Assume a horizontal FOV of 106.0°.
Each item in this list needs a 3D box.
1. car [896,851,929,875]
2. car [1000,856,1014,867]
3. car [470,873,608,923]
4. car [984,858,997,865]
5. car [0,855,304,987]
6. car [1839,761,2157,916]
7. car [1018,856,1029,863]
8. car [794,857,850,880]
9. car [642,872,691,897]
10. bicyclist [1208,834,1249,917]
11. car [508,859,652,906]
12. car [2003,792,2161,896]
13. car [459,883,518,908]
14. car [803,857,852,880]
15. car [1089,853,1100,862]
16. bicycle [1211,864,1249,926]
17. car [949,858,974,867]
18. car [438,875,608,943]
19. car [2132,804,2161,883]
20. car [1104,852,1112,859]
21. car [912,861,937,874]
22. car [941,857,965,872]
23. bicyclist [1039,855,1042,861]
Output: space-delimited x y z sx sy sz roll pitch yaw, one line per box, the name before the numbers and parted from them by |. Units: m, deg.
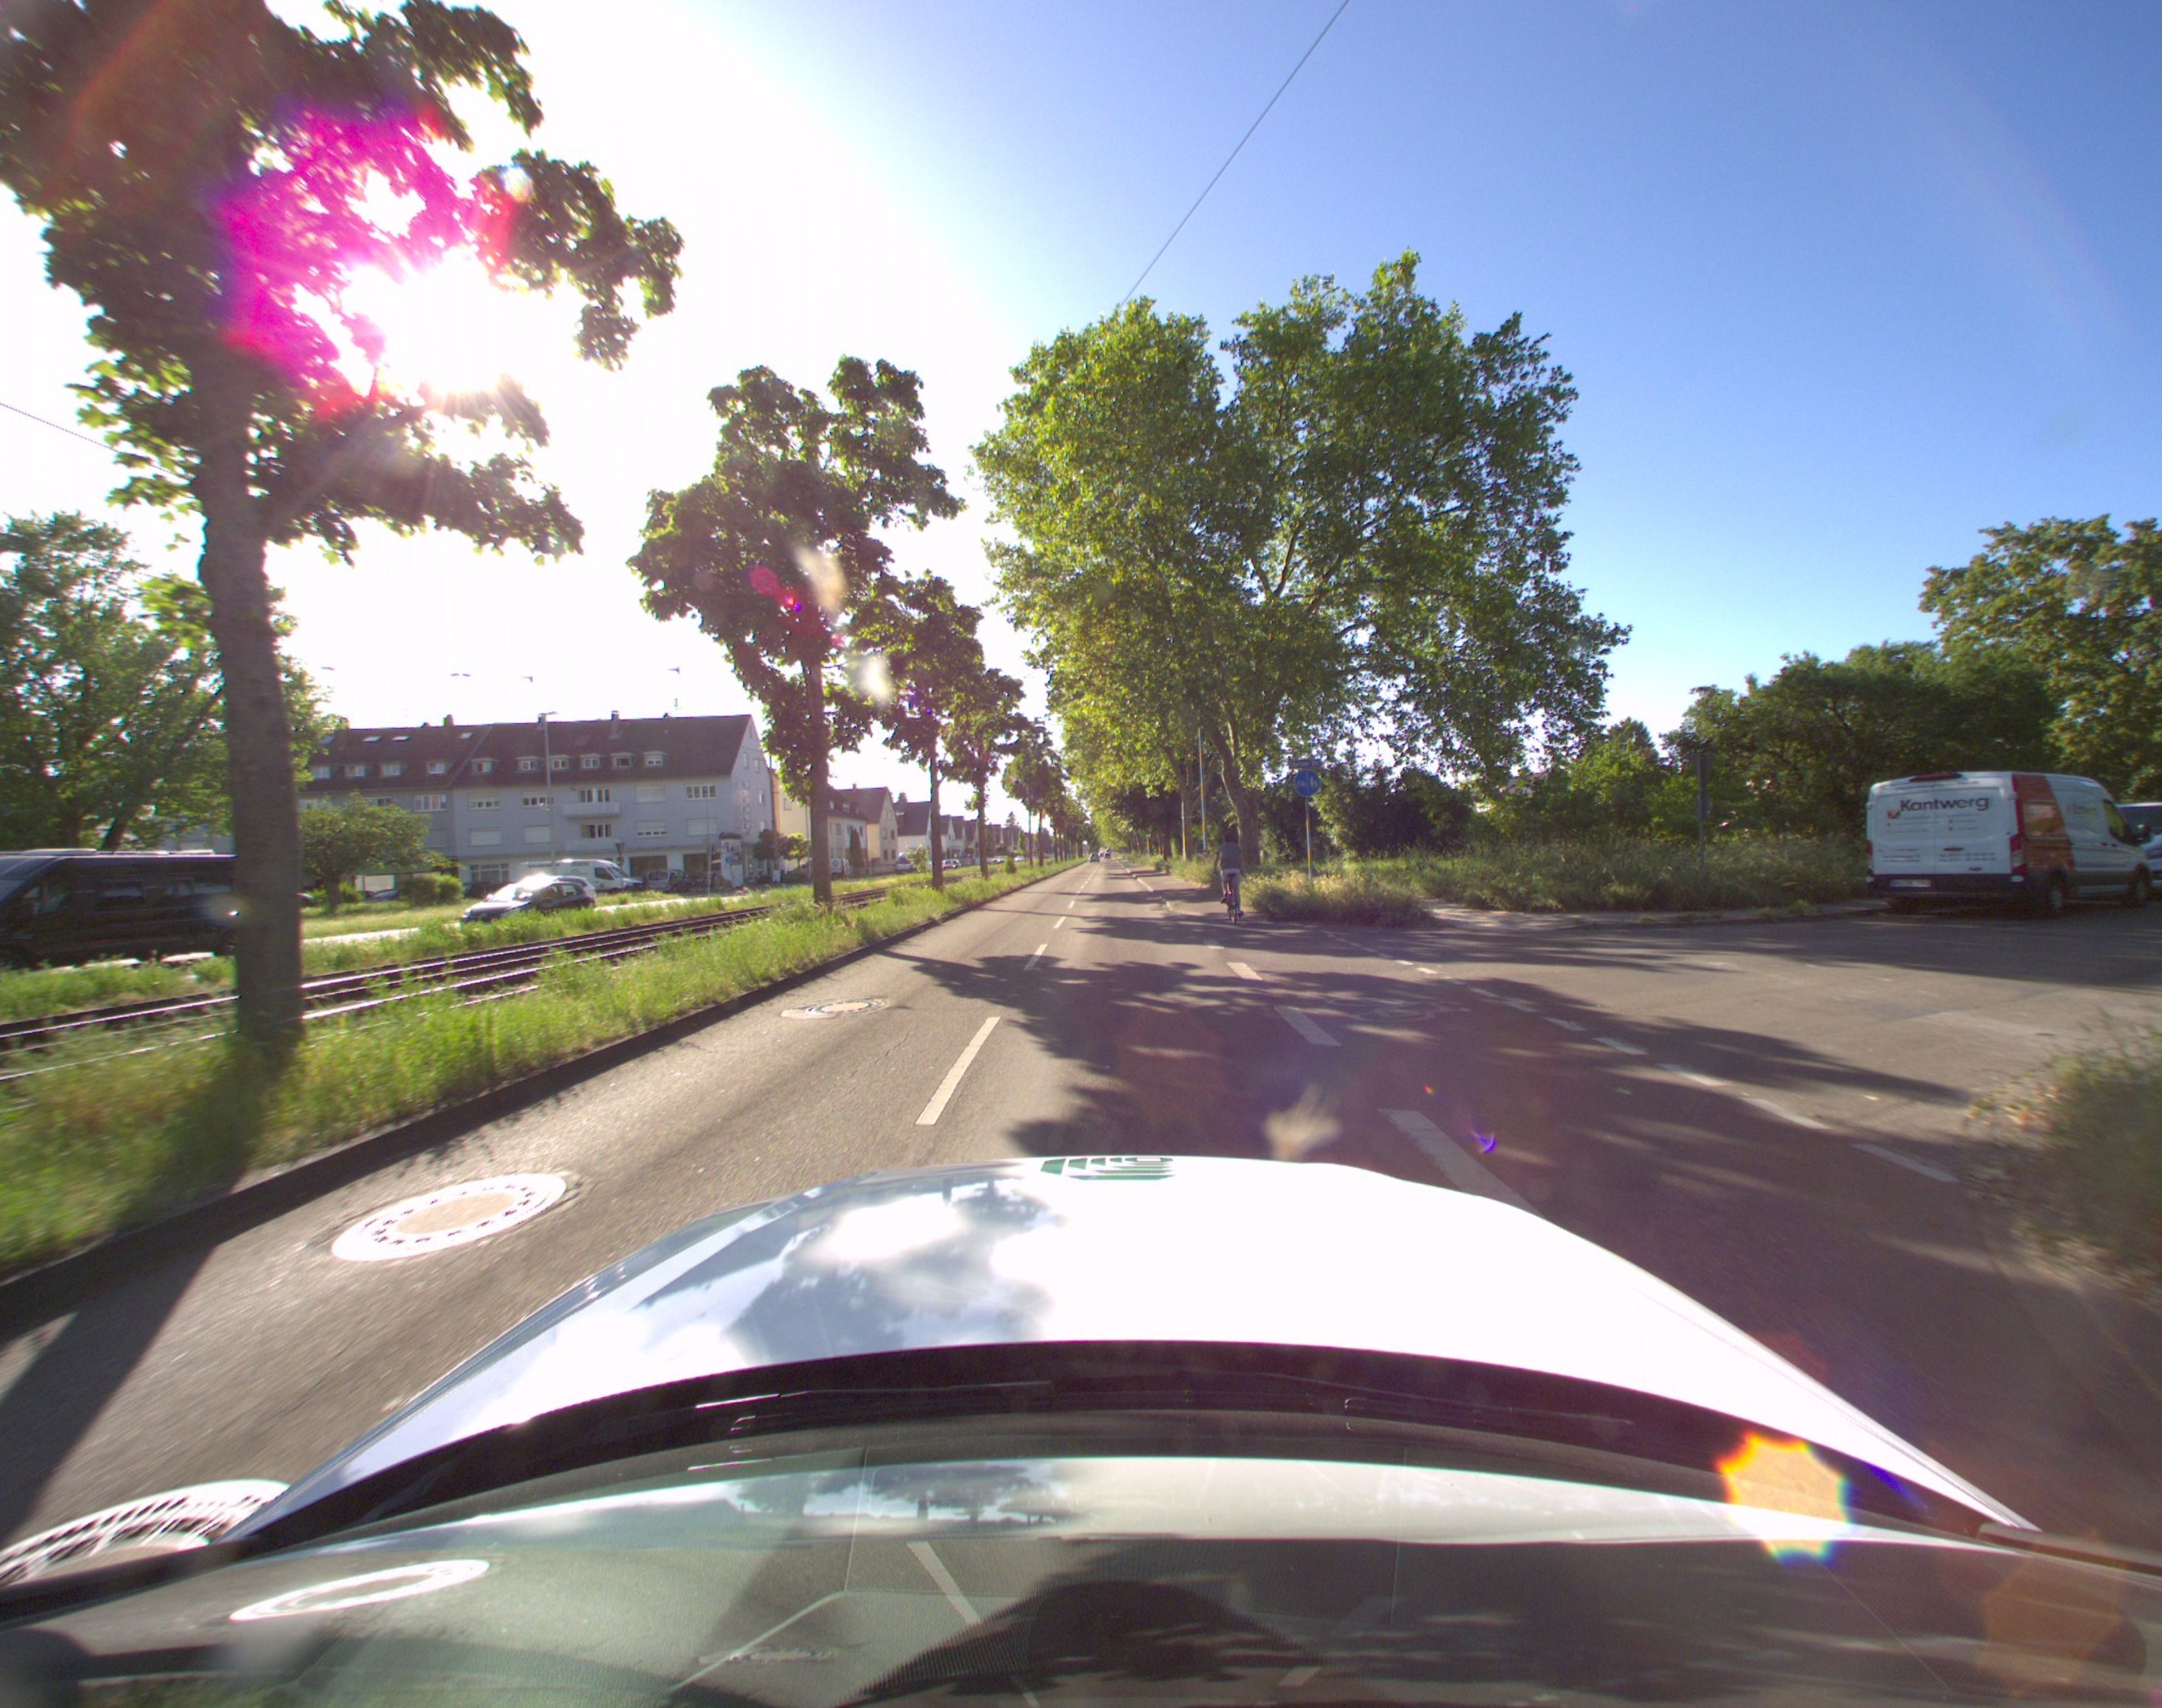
car | -18.281 0.953 88.455 1.986 2.459 6.676 -1 -1 1
car | -13.367 1.339 147.400 1.908 1.883 4.527 -1 -1 3
car | -20.129 1.576 30.559 1.816 1.607 4.776 -1 0 2
car | -16.179 1.360 145.899 1.487 1.326 4.003 -1 0 3
car | -20.502 1.256 16.991 2.174 2.376 6.467 -1 -1 2
car | 16.678 -0.290 14.831 5.004 2.439 2.312 -1 0 -22
car | -14.221 1.299 202.004 1.984 1.599 4.738 -1 -1 5
car | -23.920 1.321 75.254 4.616 1.945 1.994 -2 0 -9
car | -29.331 2.130 57.779 1.793 1.670 4.090 -1 -1 -7
bicyclist | 3.009 0.432 16.676 0.611 1.628 0.910 -3 0 2
car | -30.087 1.670 49.144 7.049 2.507 2.328 -2 0 -3
car | 22.296 -0.226 17.118 5.153 1.942 2.276 -1 -1 -22
car | -40.808 2.812 56.201 1.526 1.448 3.626 -3 0 -4
car | -24.166 1.361 77.677 4.136 1.952 1.994 -2 0 -9
car | 2.143 0.594 129.476 1.732 1.401 3.278 -1 -1 2
bicycle | 3.031 0.809 16.690 0.438 1.153 1.824 -3 0 2
car | -21.950 1.543 149.453 4.202 1.463 1.936 -1 -1 -2
car | -15.490 1.461 22.883 1.985 1.531 3.754 -3 0 3
car | 28.208 -0.303 19.584 5.153 1.874 2.276 -1 -1 -22
car | 6.413 0.439 191.858 1.754 1.513 3.279 -1 -1 3
car | -18.069 1.511 94.390 1.818 1.412 4.659 -1 0 1
car | -13.388 1.055 85.102 1.670 1.409 4.002 -3 0 2
bicyclist | -11.494 1.074 230.265 0.686 1.652 0.882 -1 0 1
